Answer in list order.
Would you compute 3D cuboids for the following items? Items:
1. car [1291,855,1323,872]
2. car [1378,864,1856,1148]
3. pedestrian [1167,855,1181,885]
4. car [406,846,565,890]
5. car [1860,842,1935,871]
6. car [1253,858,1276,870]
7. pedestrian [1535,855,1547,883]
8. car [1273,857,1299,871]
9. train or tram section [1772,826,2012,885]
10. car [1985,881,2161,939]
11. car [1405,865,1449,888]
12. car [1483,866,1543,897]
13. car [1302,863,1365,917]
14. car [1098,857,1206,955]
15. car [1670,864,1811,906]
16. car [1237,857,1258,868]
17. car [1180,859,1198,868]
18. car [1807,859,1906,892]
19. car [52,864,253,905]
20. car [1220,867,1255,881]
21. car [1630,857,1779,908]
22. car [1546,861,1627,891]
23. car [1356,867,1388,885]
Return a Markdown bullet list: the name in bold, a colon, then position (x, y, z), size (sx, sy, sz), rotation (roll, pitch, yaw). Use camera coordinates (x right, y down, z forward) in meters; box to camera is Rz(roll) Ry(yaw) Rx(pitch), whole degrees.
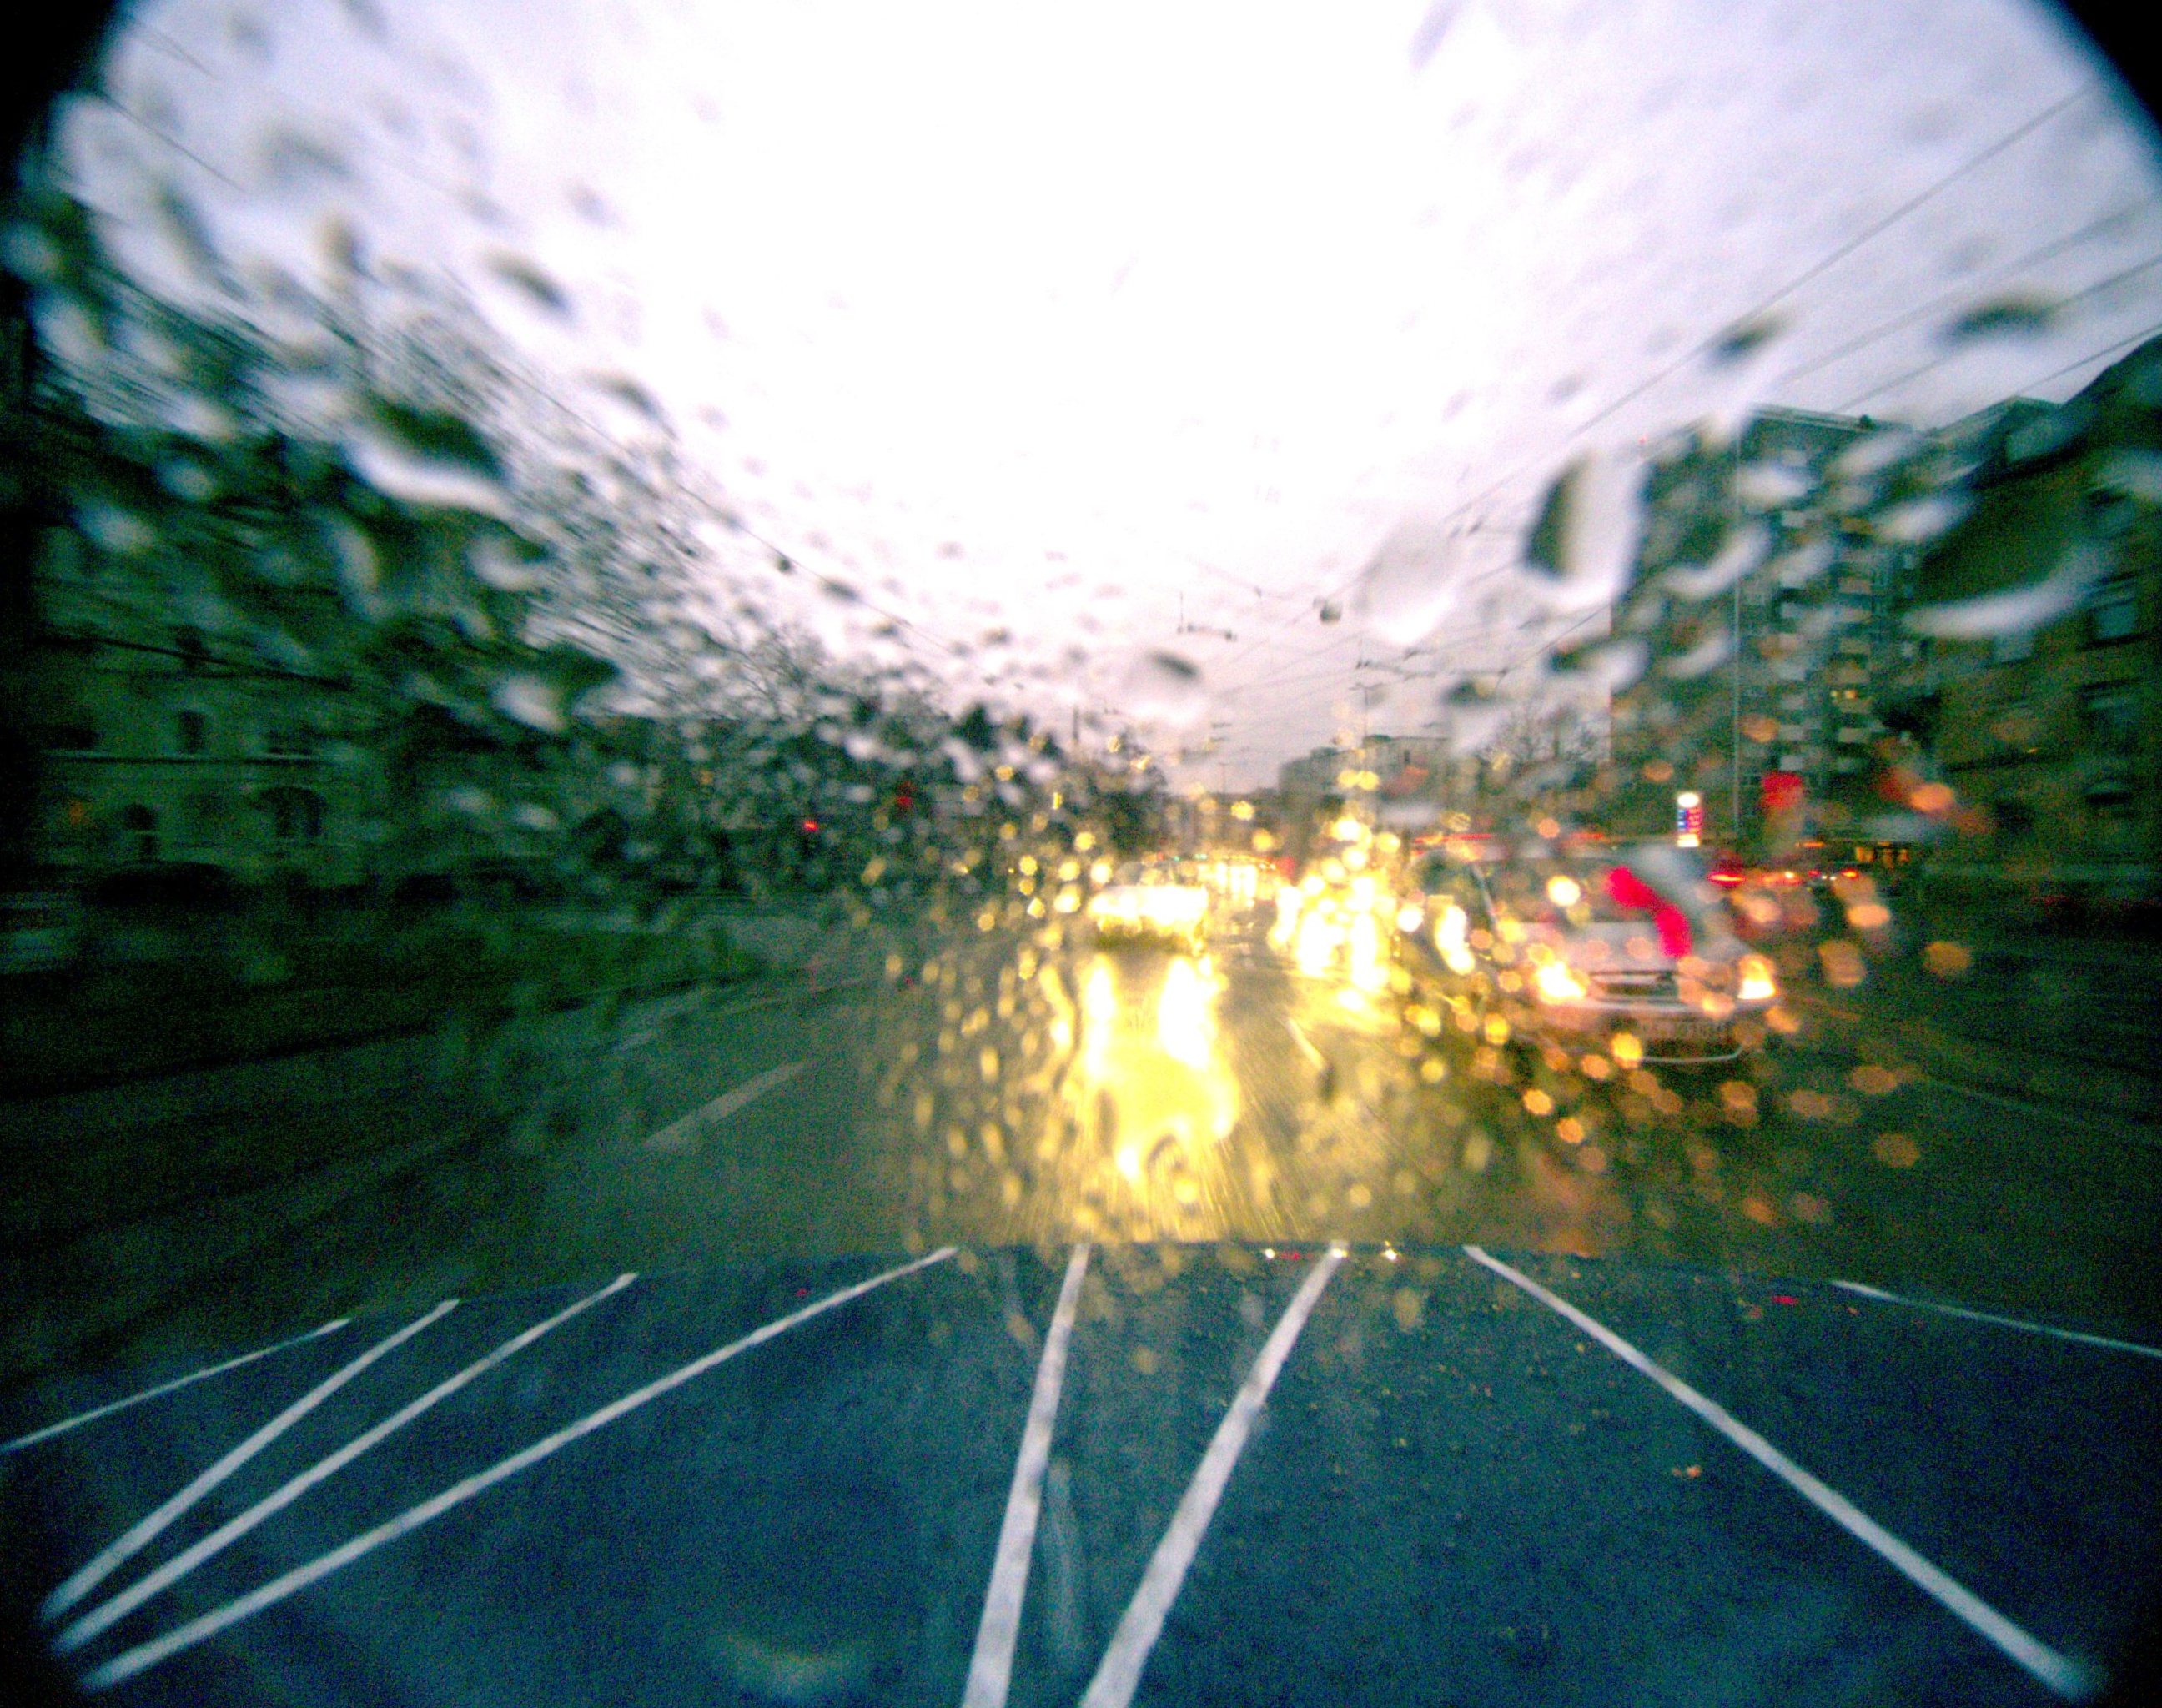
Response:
- **car**: position (28.364, 1.189, 95.326), size (2.000, 1.934, 4.851), rotation (2, 0, -7)
- **car**: position (3.822, 0.874, 6.378), size (1.648, 1.539, 4.112), rotation (0, 0, 9)
- **pedestrian**: position (5.864, 1.003, 48.000), size (0.573, 1.828, 0.684), rotation (6, 0, 19)
- **car**: position (-23.325, 0.538, 29.952), size (4.514, 1.660, 1.998), rotation (0, 0, -11)
- **car**: position (59.565, 0.165, 55.456), size (4.001, 2.002, 1.998), rotation (-1, 0, -13)
- **car**: position (24.185, 1.332, 100.309), size (1.650, 1.478, 4.142), rotation (1, -1, -6)
- **pedestrian**: position (29.854, 0.978, 49.317), size (0.467, 1.761, 0.629), rotation (0, 1, 13)
- **car**: position (24.973, 1.264, 92.522), size (1.650, 1.620, 4.658), rotation (1, -1, -3)
- **train or tram section**: position (49.269, 0.014, 46.041), size (16.320, 3.170, 3.164), rotation (-1, 0, -17)
- **car**: position (23.479, 1.233, 17.127), size (1.604, 1.127, 3.788), rotation (0, 0, -3)
- **car**: position (23.893, 1.538, 52.587), size (1.683, 1.449, 4.338), rotation (0, 0, 10)
- **car**: position (22.214, 1.363, 39.164), size (1.490, 1.478, 3.154), rotation (0, 0, 4)
- **car**: position (8.112, 1.067, 24.284), size (1.750, 1.535, 4.006), rotation (1, 0, 20)
- **car**: position (1.472, 0.864, 14.442), size (1.648, 1.575, 3.808), rotation (-1, 0, 11)
- **car**: position (23.878, 1.083, 27.736), size (1.683, 1.346, 4.390), rotation (0, 0, 6)
- **car**: position (21.709, 1.091, 99.407), size (1.649, 1.441, 3.849), rotation (0, 0, -5)
- **car**: position (19.170, 1.629, 135.247), size (1.969, 1.505, 4.530), rotation (1, -1, -9)
- **car**: position (37.309, 1.023, 36.548), size (4.232, 1.516, 1.683), rotation (0, 0, -19)
- **car**: position (-33.847, 1.106, 27.831), size (4.512, 1.432, 1.999), rotation (0, 0, -8)
- **car**: position (15.721, 1.989, 76.547), size (1.969, 1.378, 4.530), rotation (1, -1, -9)
- **car**: position (20.469, 0.870, 25.202), size (1.684, 1.544, 4.122), rotation (0, 0, 2)
- **car**: position (24.851, 1.048, 37.487), size (1.684, 1.384, 3.614), rotation (0, 0, 2)
- **car**: position (25.347, 1.865, 66.299), size (1.683, 1.449, 4.064), rotation (0, 0, 6)
